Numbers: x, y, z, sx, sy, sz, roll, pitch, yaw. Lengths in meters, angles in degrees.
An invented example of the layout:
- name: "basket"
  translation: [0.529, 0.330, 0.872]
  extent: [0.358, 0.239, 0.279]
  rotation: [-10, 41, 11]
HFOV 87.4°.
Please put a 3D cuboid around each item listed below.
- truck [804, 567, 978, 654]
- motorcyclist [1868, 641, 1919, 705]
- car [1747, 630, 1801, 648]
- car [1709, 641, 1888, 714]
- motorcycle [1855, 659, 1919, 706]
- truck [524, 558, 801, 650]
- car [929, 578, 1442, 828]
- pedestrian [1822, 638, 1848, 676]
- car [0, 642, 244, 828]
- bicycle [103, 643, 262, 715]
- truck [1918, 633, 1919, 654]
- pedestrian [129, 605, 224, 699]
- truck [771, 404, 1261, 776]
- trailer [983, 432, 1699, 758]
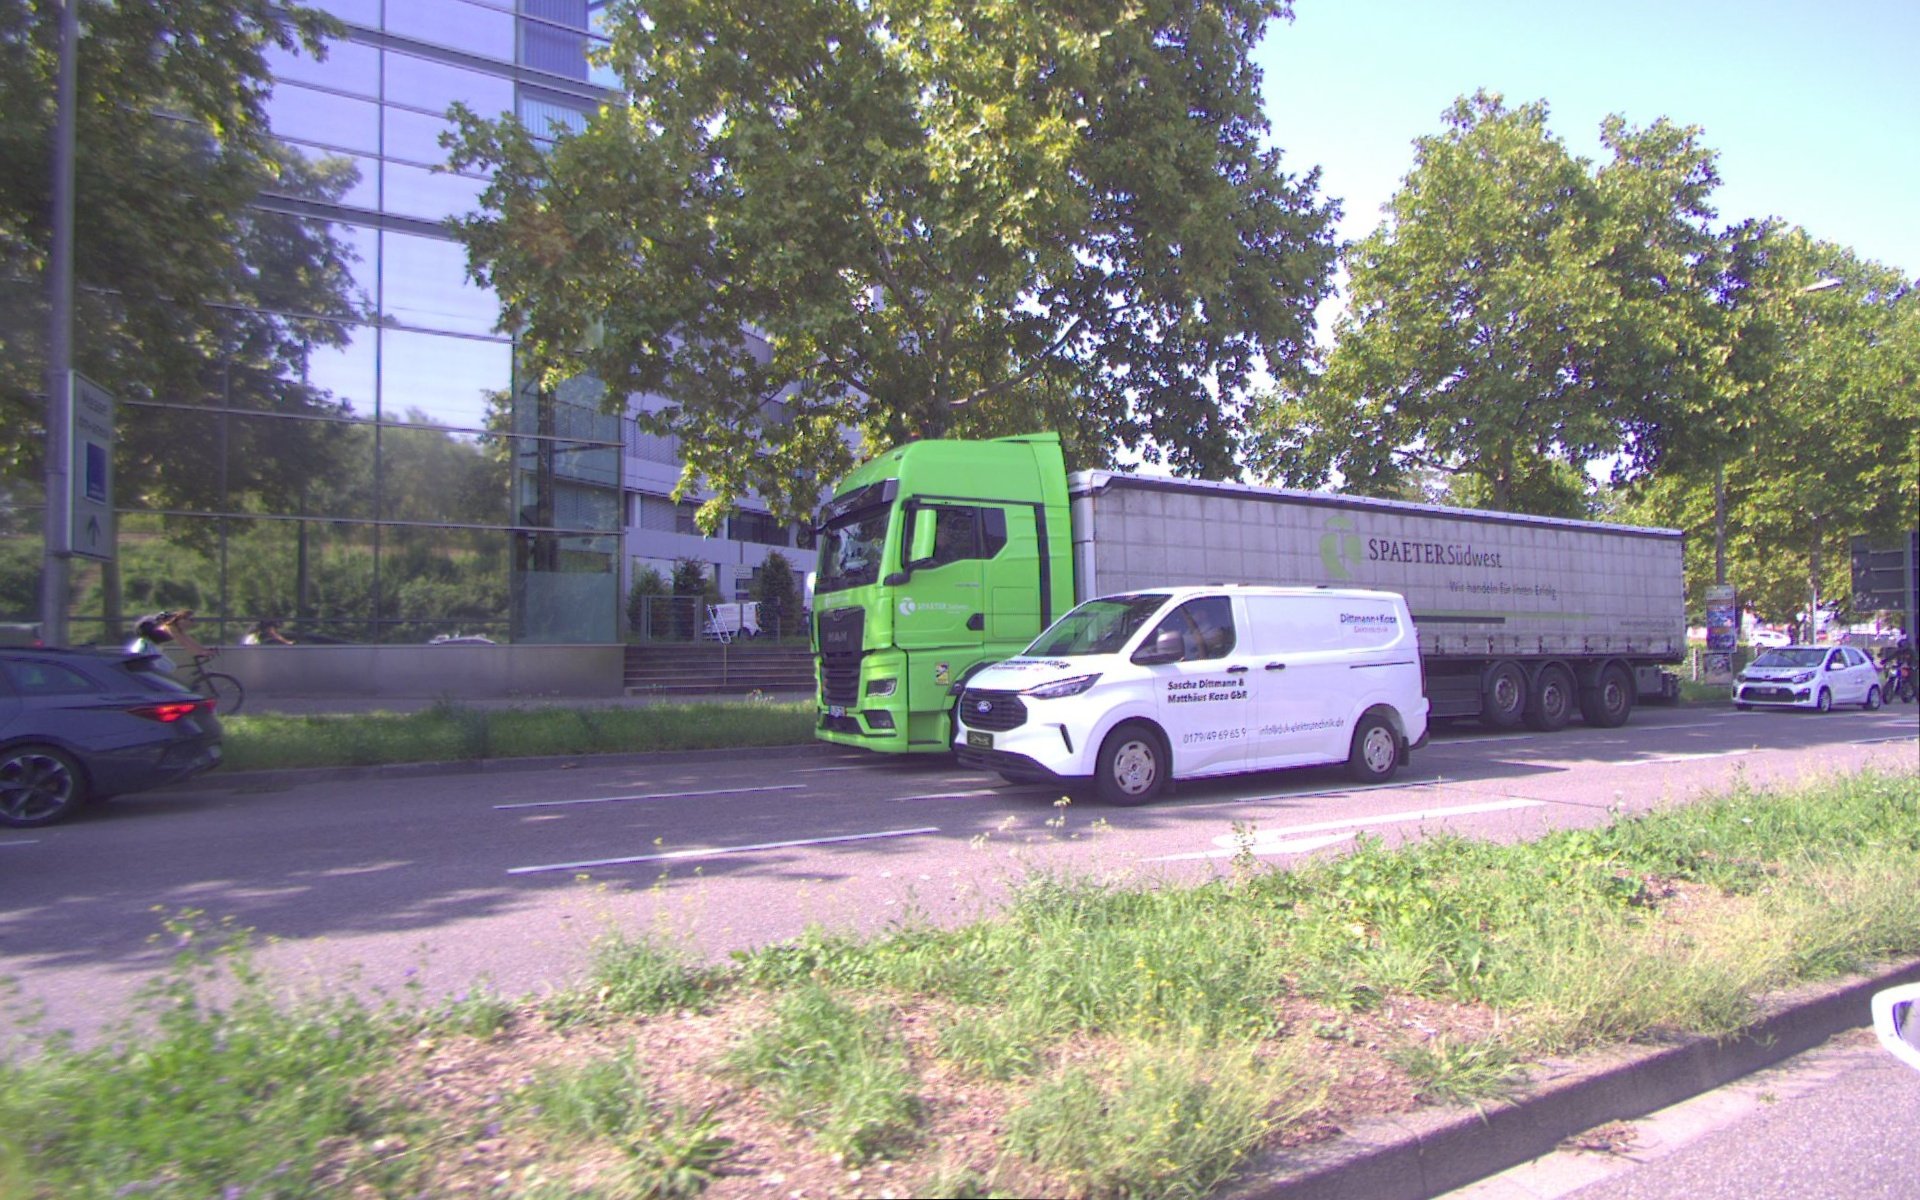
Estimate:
- name: "truck"
  translation: [-2.469, 0.381, 35.695]
  extent: [5.793, 2.898, 2.238]
  rotation: [0, -2, 24]
- name: "motorcyclist"
  translation: [23.823, 1.848, 25.566]
  extent: [0.911, 1.574, 0.775]
  rotation: [1, -1, -27]
- name: "car"
  translation: [83.066, 3.969, 102.577]
  extent: [3.923, 1.701, 1.870]
  rotation: [0, -2, 23]
- name: "car"
  translation: [18.871, 1.706, 22.591]
  extent: [3.782, 1.498, 1.740]
  rotation: [2, -3, -27]
- name: "motorcycle"
  translation: [23.881, 2.086, 25.591]
  extent: [2.436, 1.121, 0.792]
  rotation: [2, -2, -28]
- name: "truck"
  translation: [-10.152, 0.245, 34.822]
  extent: [9.004, 2.898, 1.988]
  rotation: [1, -2, -26]
- name: "car"
  translation: [2.349, 0.895, 10.067]
  extent: [4.974, 1.979, 1.985]
  rotation: [1, -2, -29]
- name: "pedestrian"
  translation: [39.656, 2.585, 45.506]
  extent: [0.922, 1.674, 0.614]
  rotation: [1, -1, -28]
- name: "car"
  translation: [-8.595, 1.063, 8.044]
  extent: [4.425, 1.429, 1.641]
  rotation: [2, -4, -29]
- name: "bicycle"
  translation: [-11.664, 1.172, 15.136]
  extent: [1.809, 1.021, 0.501]
  rotation: [2, -2, -29]
- name: "truck"
  translation: [140.119, 6.095, 140.003]
  extent: [8.847, 2.996, 3.511]
  rotation: [-1, -3, 26]
- name: "pedestrian"
  translation: [-11.751, 0.776, 15.095]
  extent: [1.020, 1.367, 0.496]
  rotation: [1, -2, -29]
- name: "truck"
  translation: [0.774, 0.033, 12.975]
  extent: [5.818, 3.869, 2.598]
  rotation: [2, -4, -29]
- name: "trailer"
  translation: [6.918, 0.184, 16.349]
  extent: [13.641, 3.871, 2.623]
  rotation: [2, -4, -29]
